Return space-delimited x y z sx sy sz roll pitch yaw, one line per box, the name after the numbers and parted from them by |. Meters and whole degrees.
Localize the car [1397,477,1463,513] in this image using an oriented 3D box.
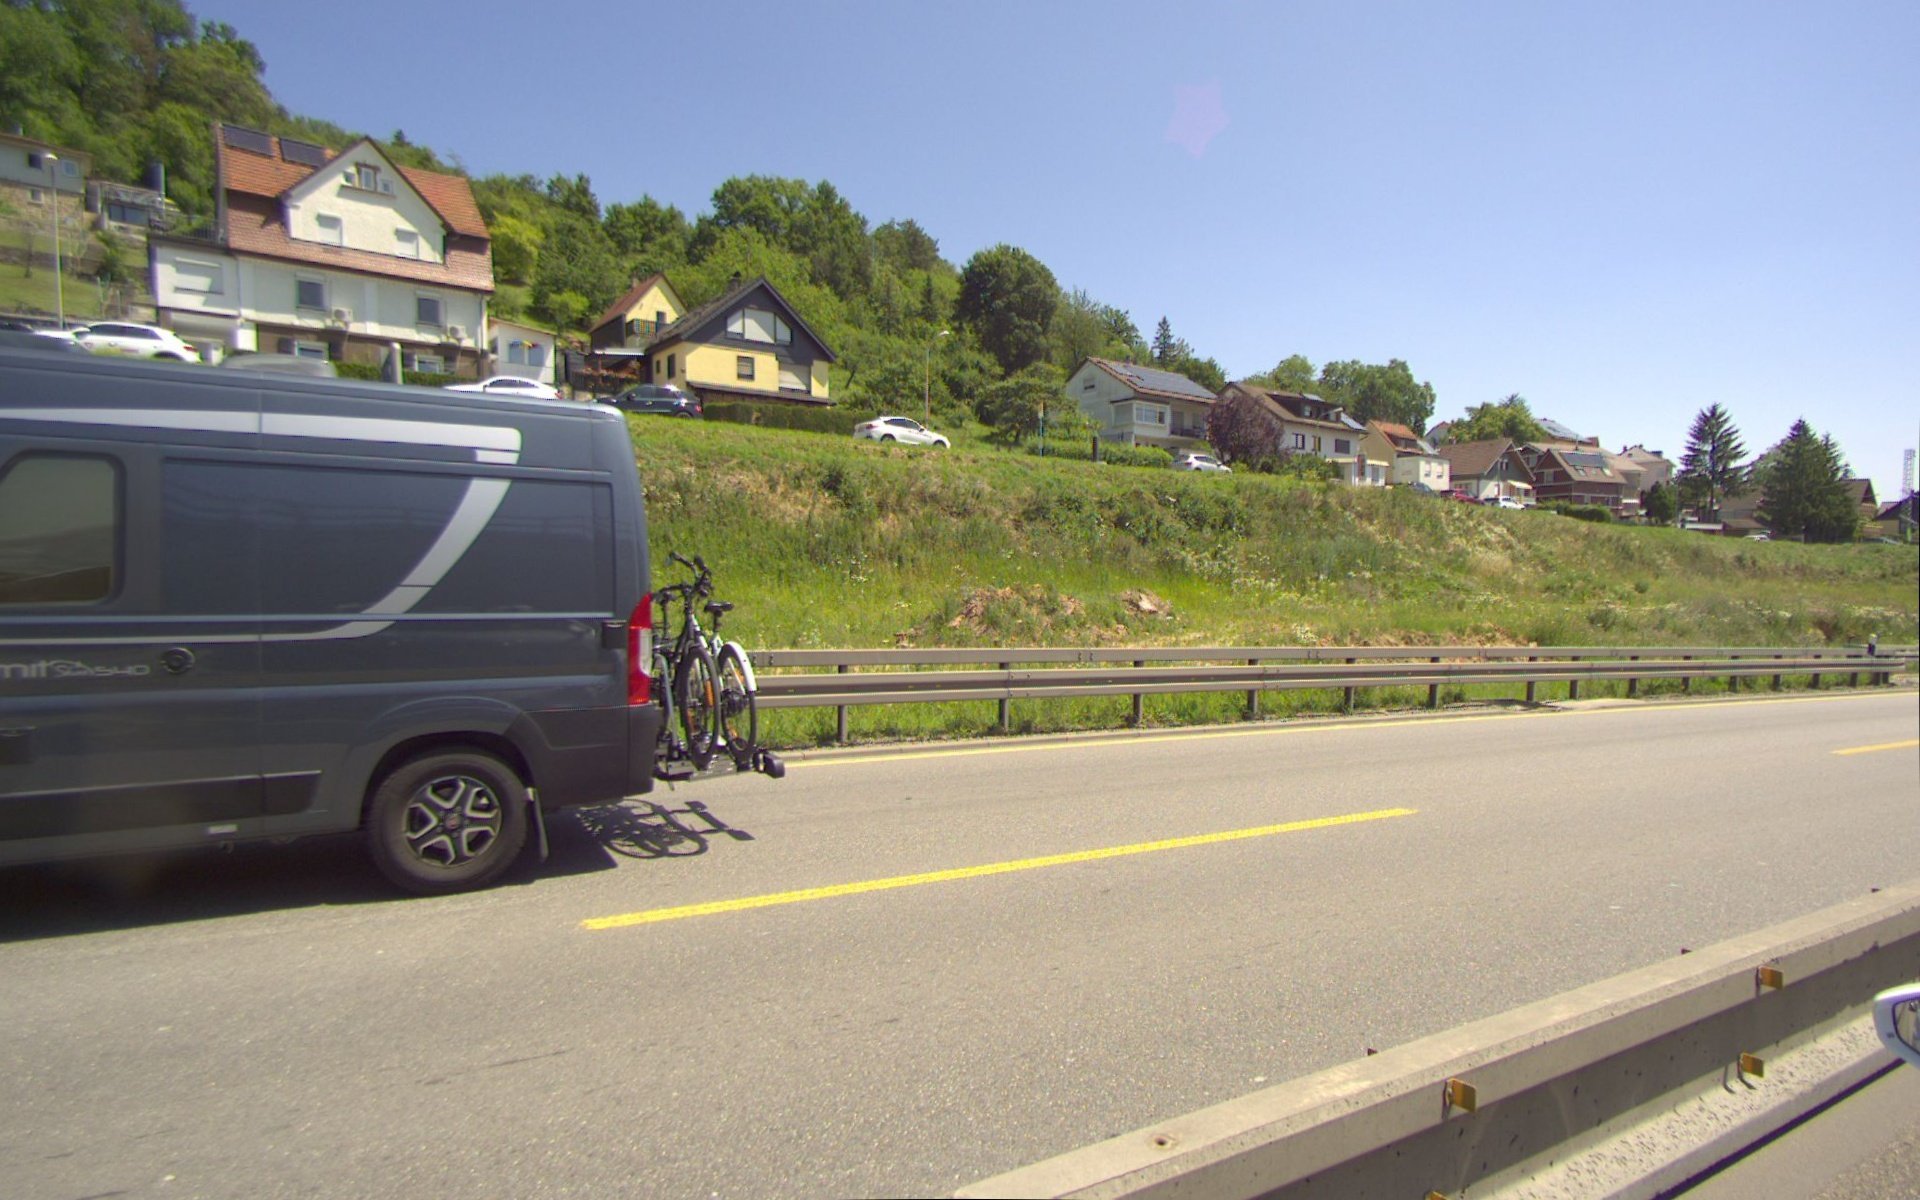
32.744 -7.277 69.957 4.720 1.817 2.162 3 -1 -37 | car

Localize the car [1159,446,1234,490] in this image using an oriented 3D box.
13.198 -7.314 56.037 3.964 1.817 1.979 3 -1 -37 | car

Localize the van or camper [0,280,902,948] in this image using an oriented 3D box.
-3.687 0.062 5.200 6.488 2.608 2.129 2 0 -31 | van or camper

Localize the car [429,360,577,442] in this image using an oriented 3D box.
-16.025 -6.900 35.312 4.389 1.896 1.980 3 -1 -36 | car

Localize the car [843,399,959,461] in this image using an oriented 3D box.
-2.617 -7.622 45.461 4.966 1.817 1.979 3 -1 -37 | car

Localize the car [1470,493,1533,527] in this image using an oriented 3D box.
42.191 -6.941 78.222 4.768 2.068 2.334 3 -1 -34 | car

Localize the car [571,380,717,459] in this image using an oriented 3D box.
-12.068 -6.828 38.530 4.925 2.035 2.057 3 -1 -36 | car

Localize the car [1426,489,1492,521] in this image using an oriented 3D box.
37.073 -7.032 74.654 4.752 1.817 2.333 3 -1 -34 | car

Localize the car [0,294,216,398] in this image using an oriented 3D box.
-24.118 -7.128 28.646 4.516 1.677 1.977 3 -1 -40 | car
